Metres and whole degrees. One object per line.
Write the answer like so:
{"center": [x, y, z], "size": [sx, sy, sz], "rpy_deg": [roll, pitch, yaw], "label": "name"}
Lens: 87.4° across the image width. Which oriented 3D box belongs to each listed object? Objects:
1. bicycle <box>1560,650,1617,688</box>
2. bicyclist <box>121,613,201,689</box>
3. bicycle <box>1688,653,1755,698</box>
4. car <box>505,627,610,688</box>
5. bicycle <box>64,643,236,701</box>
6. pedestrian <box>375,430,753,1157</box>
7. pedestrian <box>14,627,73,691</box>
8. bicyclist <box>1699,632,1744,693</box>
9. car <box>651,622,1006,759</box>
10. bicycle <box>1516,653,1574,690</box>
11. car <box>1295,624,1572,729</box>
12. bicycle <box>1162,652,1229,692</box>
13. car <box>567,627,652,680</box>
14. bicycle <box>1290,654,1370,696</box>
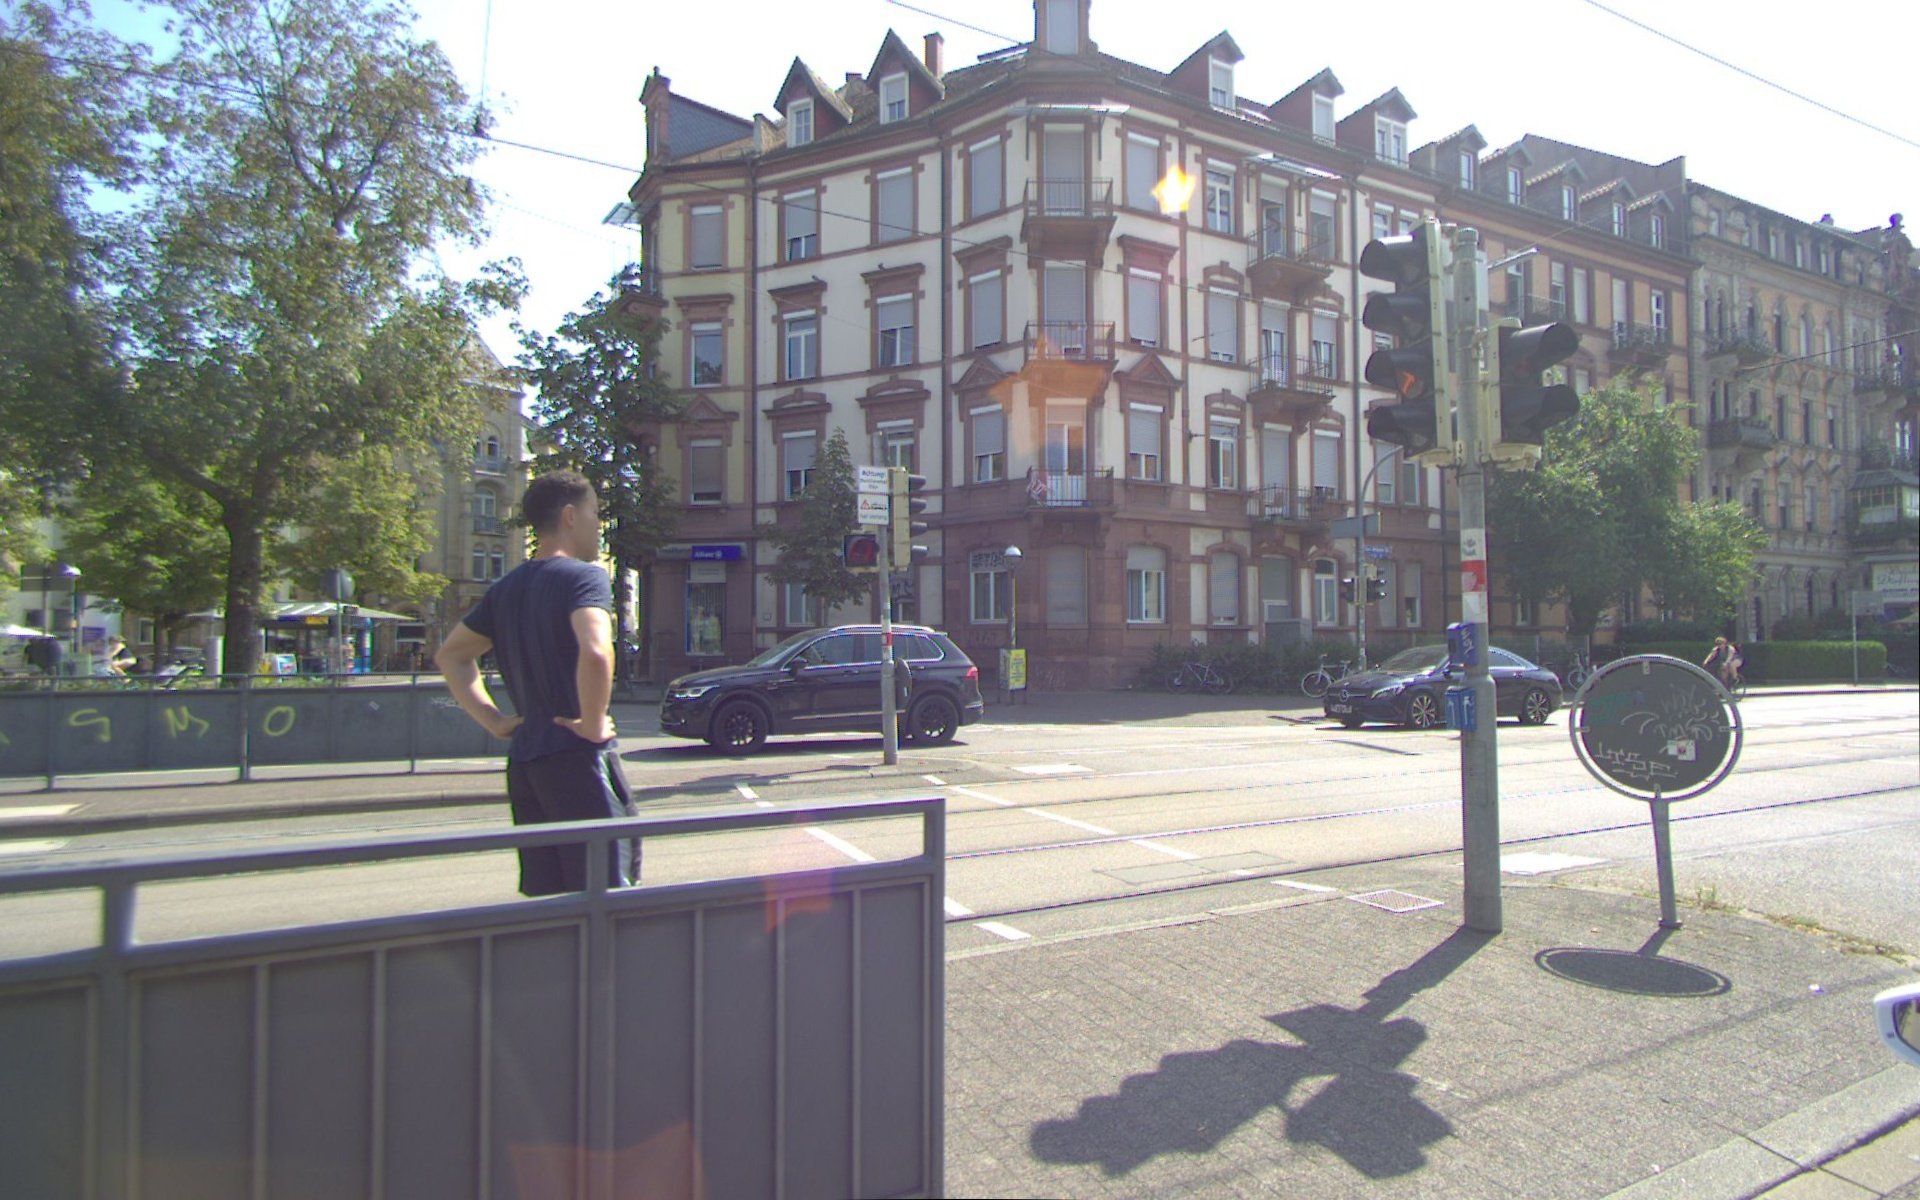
{"center": [17.364, 1.896, 27.753], "size": [1.634, 0.999, 0.486], "rpy_deg": [1, -2, -24], "label": "bicycle"}
{"center": [-21.912, 1.401, 27.572], "size": [1.186, 2.040, 1.212], "rpy_deg": [0, -3, 21], "label": "bicyclist"}
{"center": [18.893, 1.855, 24.906], "size": [1.820, 1.080, 0.578], "rpy_deg": [1, -3, -27], "label": "bicycle"}
{"center": [-14.466, 2.042, 36.460], "size": [2.125, 2.040, 5.025], "rpy_deg": [0, -2, -4], "label": "car"}
{"center": [-21.968, 1.920, 27.389], "size": [1.199, 1.455, 3.485], "rpy_deg": [-1, -3, 22], "label": "bicycle"}
{"center": [-1.224, 0.523, 3.164], "size": [0.906, 1.910, 0.675], "rpy_deg": [-2, -2, 28], "label": "pedestrian"}
{"center": [-30.109, 1.922, 33.035], "size": [1.079, 2.040, 1.031], "rpy_deg": [1, -1, -22], "label": "pedestrian"}
{"center": [18.866, 1.544, 24.900], "size": [0.766, 1.489, 0.578], "rpy_deg": [1, -2, -27], "label": "bicyclist"}
{"center": [-1.835, 1.181, 14.049], "size": [4.566, 1.669, 1.989], "rpy_deg": [1, -3, -24], "label": "car"}
{"center": [15.788, 1.909, 27.119], "size": [1.634, 0.954, 0.486], "rpy_deg": [1, -2, -24], "label": "bicycle"}
{"center": [8.422, 1.303, 17.842], "size": [4.568, 1.669, 1.988], "rpy_deg": [1, -4, -25], "label": "car"}
{"center": [6.000, 1.837, 25.636], "size": [1.645, 1.010, 0.395], "rpy_deg": [-1, -2, 11], "label": "bicycle"}
{"center": [-14.535, 2.197, 41.936], "size": [2.125, 2.040, 5.025], "rpy_deg": [0, -2, -4], "label": "car"}
{"center": [9.189, 1.854, 24.991], "size": [1.793, 1.010, 0.489], "rpy_deg": [-1, -2, 11], "label": "bicycle"}
